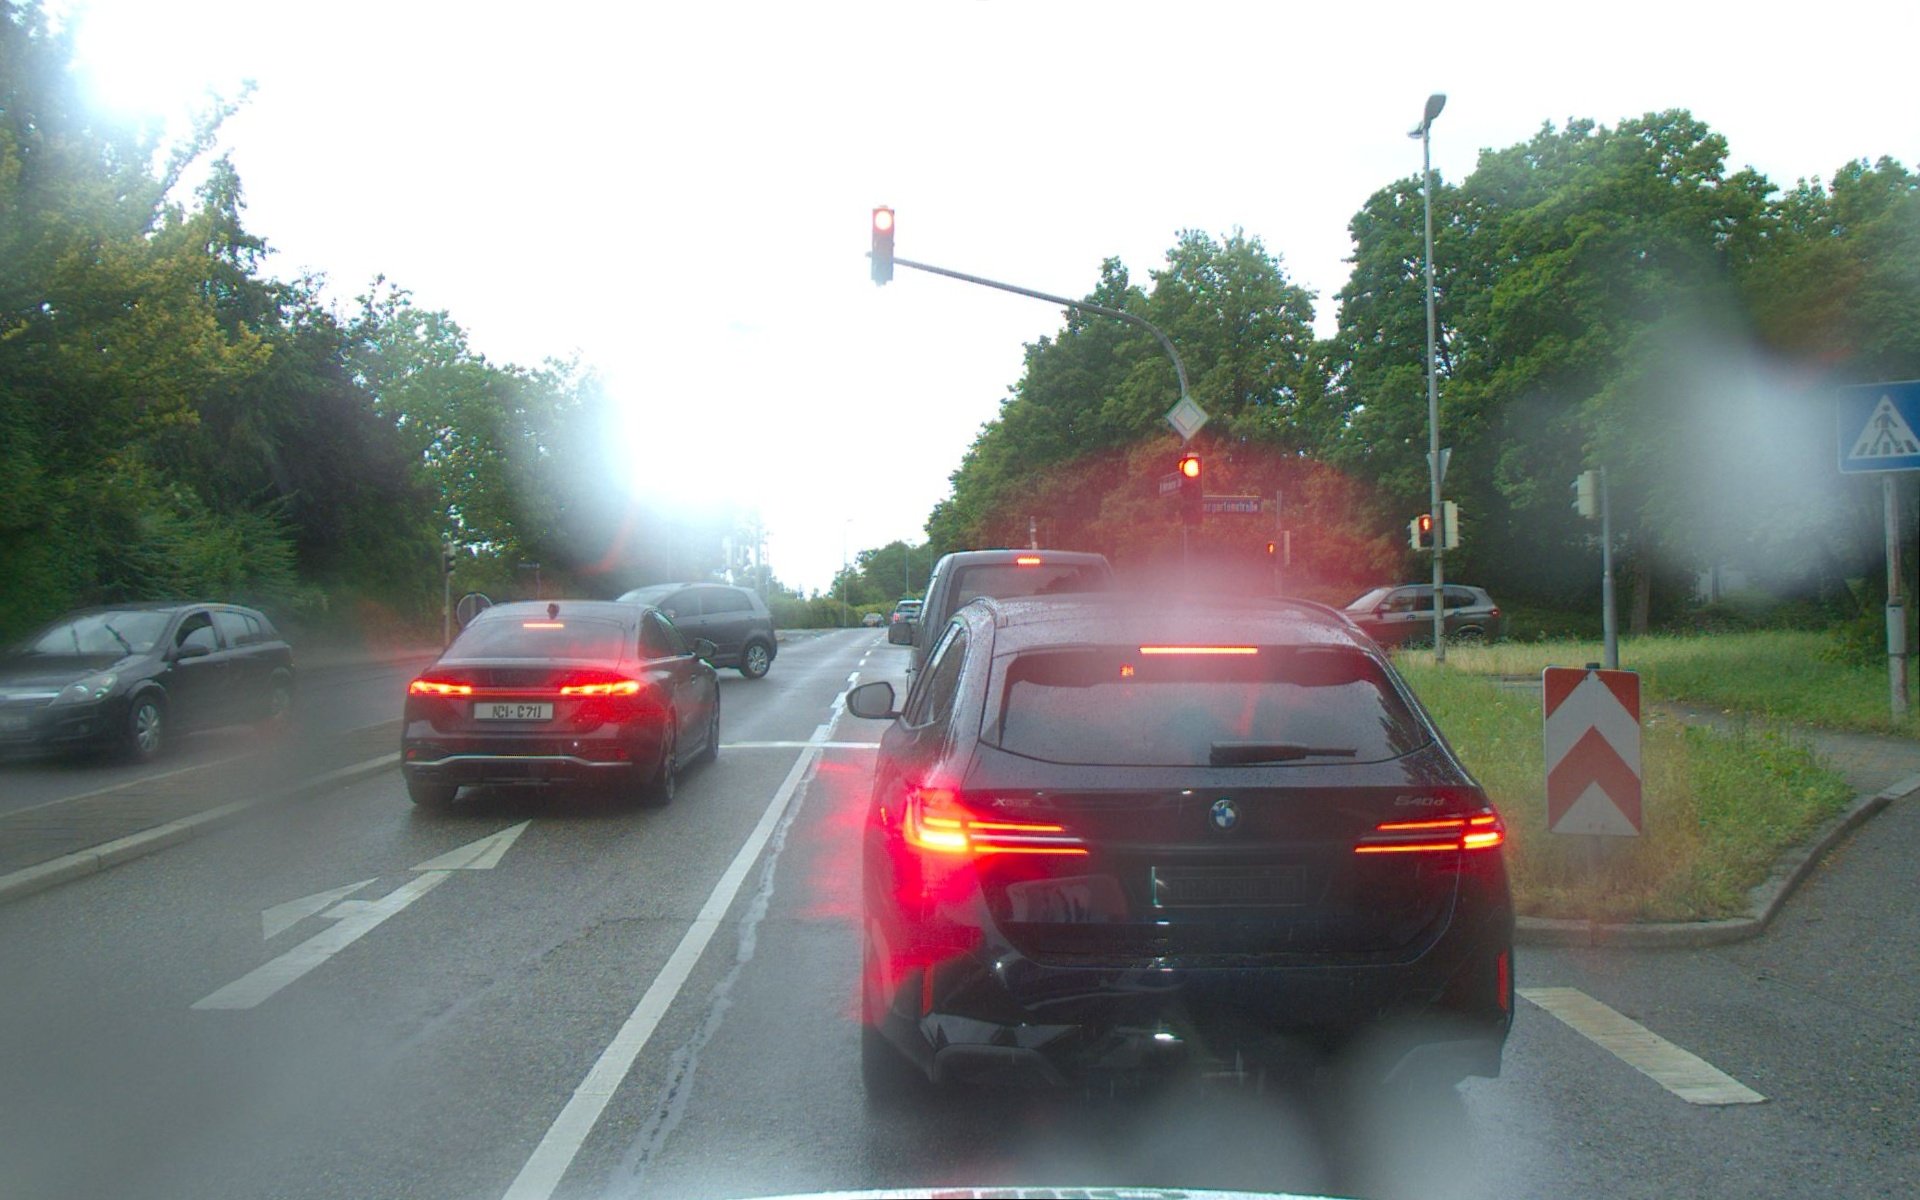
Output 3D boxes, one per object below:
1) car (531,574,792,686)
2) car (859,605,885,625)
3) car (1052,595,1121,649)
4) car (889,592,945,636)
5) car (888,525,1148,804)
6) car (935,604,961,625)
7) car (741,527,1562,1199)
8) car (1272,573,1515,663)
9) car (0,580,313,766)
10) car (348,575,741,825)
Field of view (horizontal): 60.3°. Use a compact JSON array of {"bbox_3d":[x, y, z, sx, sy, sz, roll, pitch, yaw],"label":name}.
[{"bbox_3d":[-4.853,0.458,27.284,1.717,1.630,4.009,-2,1,41],"label":"car"},{"bbox_3d":[-8.664,1.507,163.057,1.951,1.858,4.003,-2,0,6],"label":"car"},{"bbox_3d":[3.969,0.668,52.450,1.835,1.569,3.952,-2,0,0],"label":"car"},{"bbox_3d":[-1.568,0.509,59.226,1.665,1.452,3.509,-2,0,-6],"label":"car"},{"bbox_3d":[0.390,0.448,13.330,1.781,1.901,3.952,0,0,0],"label":"car"},{"bbox_3d":[-1.011,1.225,142.936,1.952,1.652,3.954,-2,0,3],"label":"car"},{"bbox_3d":[0.540,0.656,6.081,1.858,1.578,4.616,0,-1,3],"label":"car"},{"bbox_3d":[9.277,0.366,35.553,4.617,1.747,1.995,-2,0,-10],"label":"car"},{"bbox_3d":[-8.017,0.616,15.931,1.856,1.535,4.001,-2,0,1],"label":"car"},{"bbox_3d":[-2.998,0.657,12.965,1.953,1.554,4.327,-2,0,0],"label":"car"}]
